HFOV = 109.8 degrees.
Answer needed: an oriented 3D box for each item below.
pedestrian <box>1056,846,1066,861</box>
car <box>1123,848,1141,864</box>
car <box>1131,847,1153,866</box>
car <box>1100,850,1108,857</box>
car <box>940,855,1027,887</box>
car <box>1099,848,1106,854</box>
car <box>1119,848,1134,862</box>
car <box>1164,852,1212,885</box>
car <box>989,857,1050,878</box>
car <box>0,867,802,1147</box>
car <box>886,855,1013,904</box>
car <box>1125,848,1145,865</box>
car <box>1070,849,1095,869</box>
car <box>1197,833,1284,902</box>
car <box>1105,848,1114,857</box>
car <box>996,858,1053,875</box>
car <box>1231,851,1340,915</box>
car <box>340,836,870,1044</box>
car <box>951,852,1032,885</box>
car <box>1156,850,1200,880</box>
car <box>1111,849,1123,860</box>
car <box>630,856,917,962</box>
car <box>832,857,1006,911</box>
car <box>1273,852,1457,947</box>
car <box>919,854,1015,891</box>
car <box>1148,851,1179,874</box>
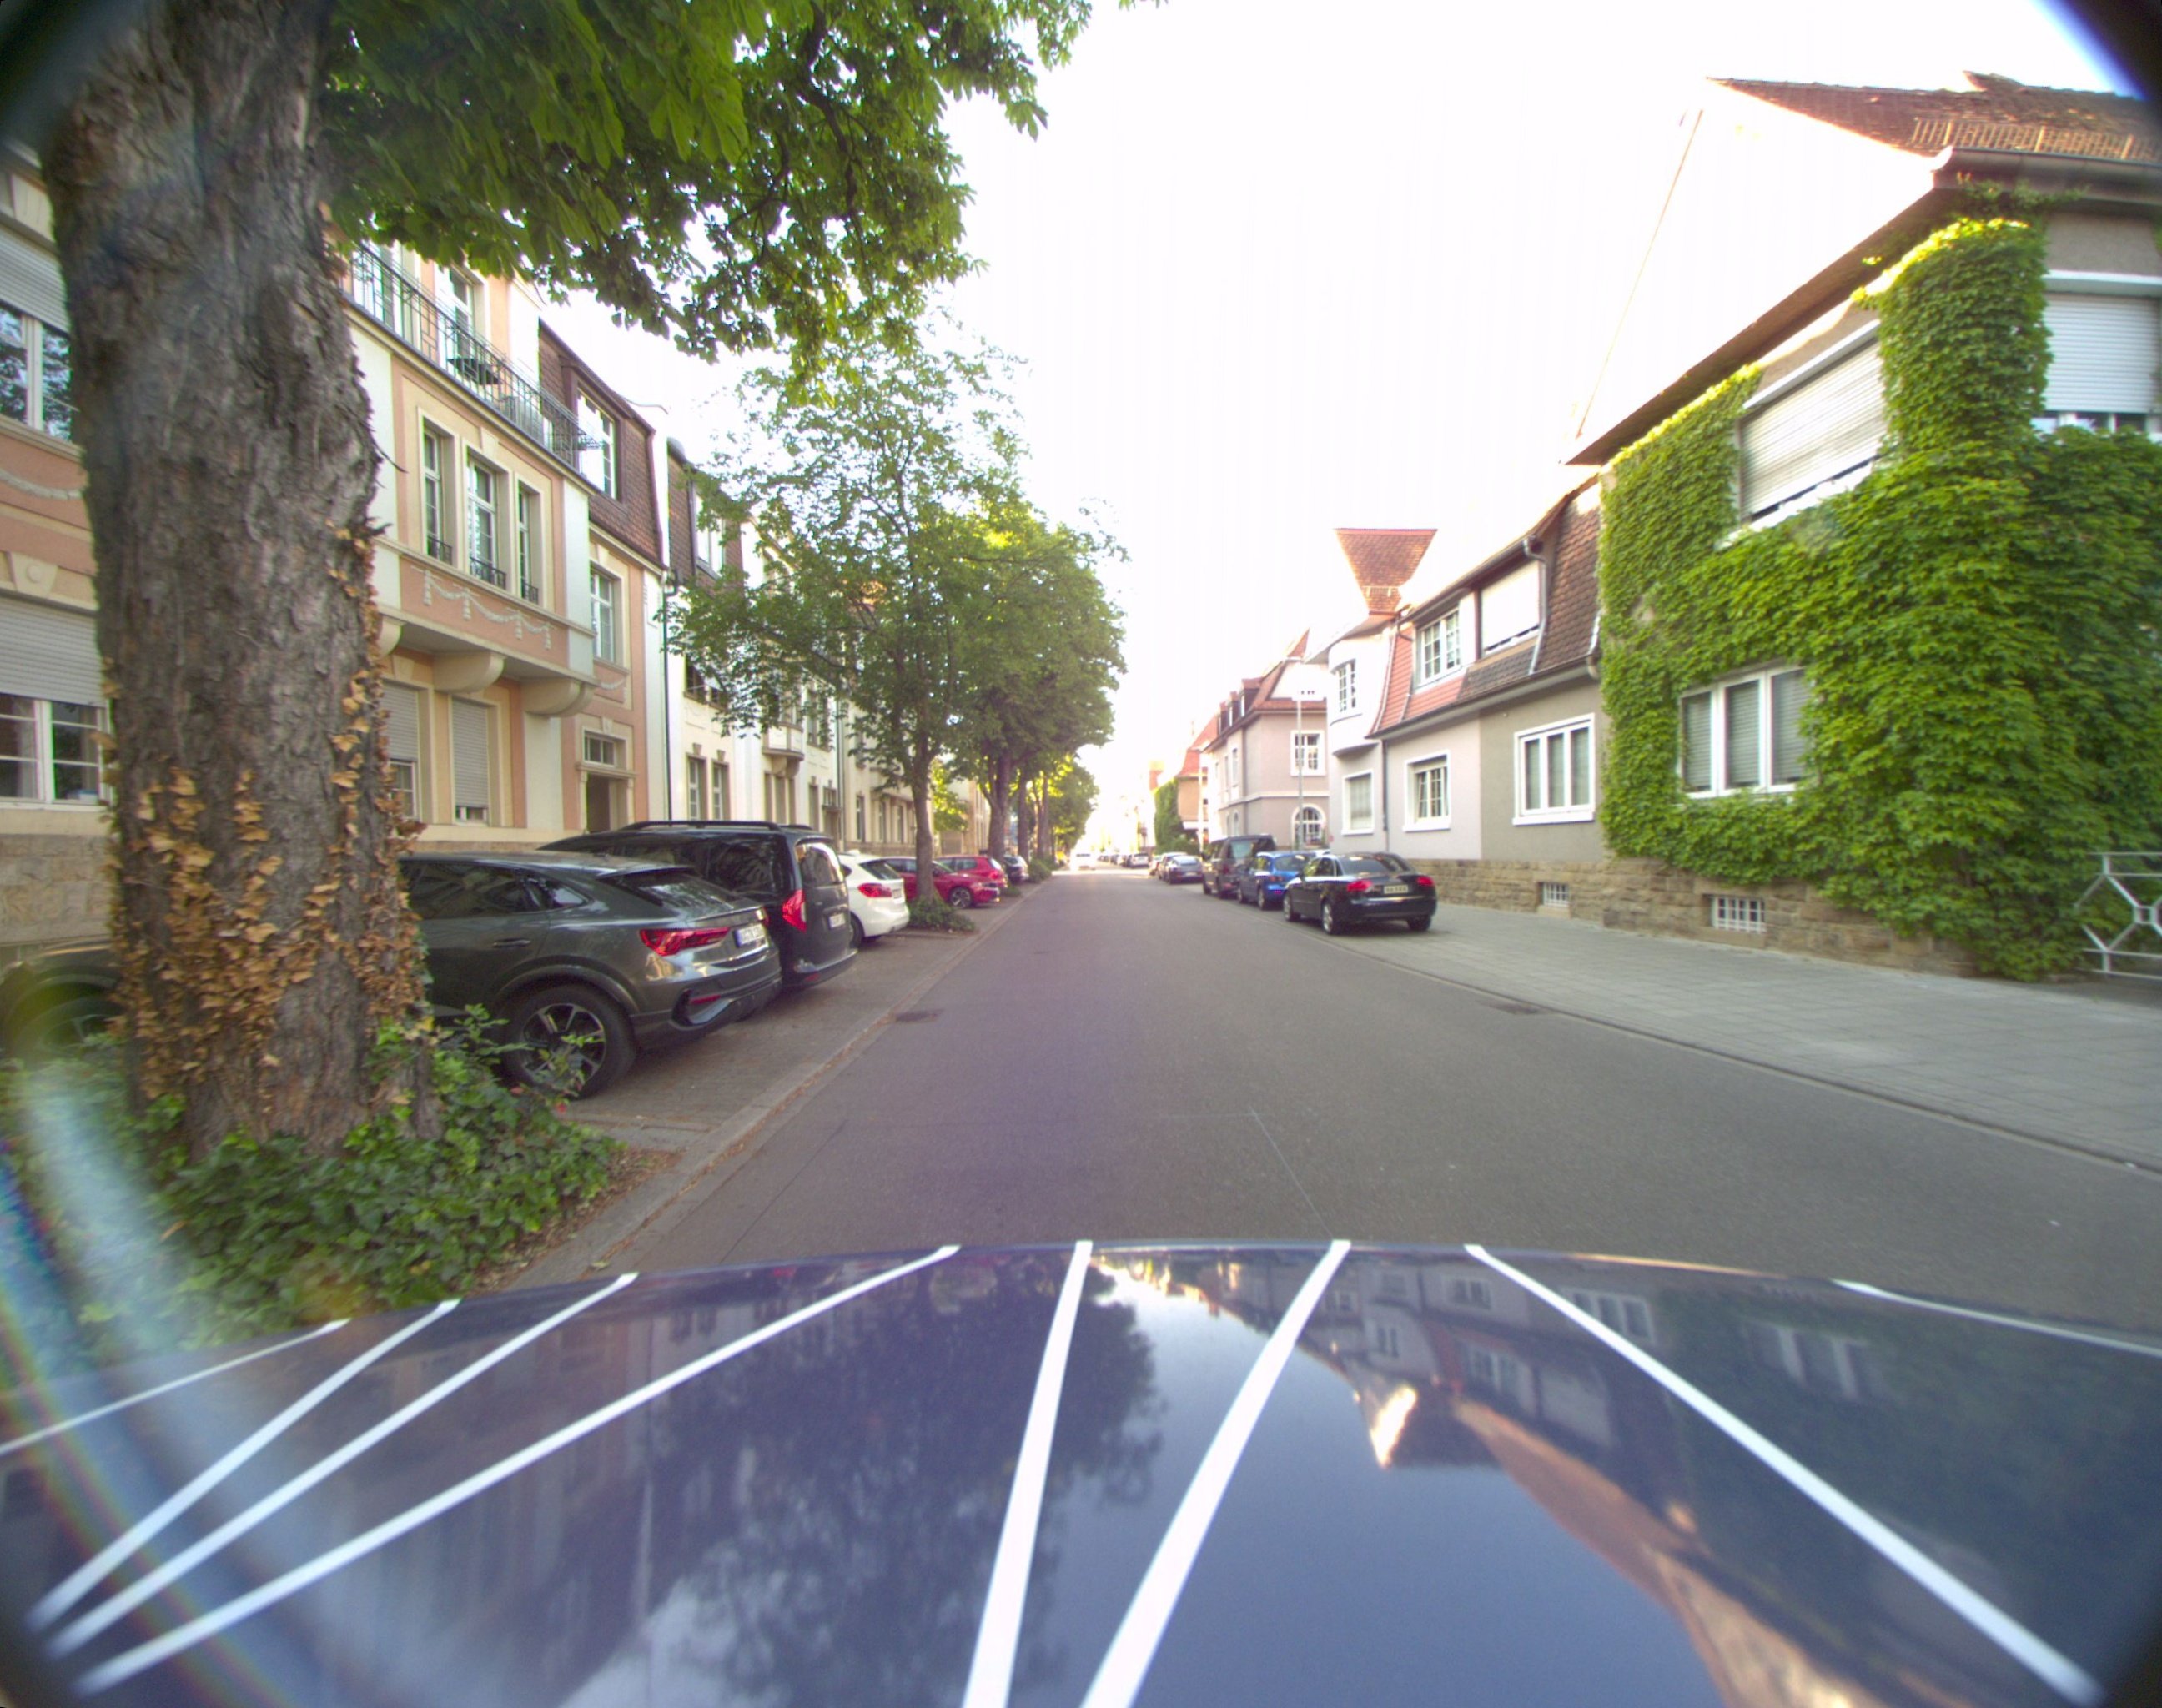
[{"bbox_3d":[-2.580,-0.051,98.037,1.119,1.926,1.097,-3,1,-1],"label":"pedestrian"},{"bbox_3d":[5.424,0.167,80.571,1.699,1.520,3.677,-3,0,2],"label":"car"},{"bbox_3d":[5.412,0.243,67.814,1.699,1.558,3.677,-3,0,2],"label":"car"},{"bbox_3d":[5.253,-0.049,173.099,1.699,1.520,3.677,-3,0,2],"label":"car"},{"bbox_3d":[-4.320,0.757,34.037,3.680,1.390,1.576,0,1,2],"label":"car"},{"bbox_3d":[5.807,-0.696,202.480,1.699,1.520,3.677,-3,0,2],"label":"car"},{"bbox_3d":[5.421,0.080,90.820,1.699,1.520,3.677,-3,0,2],"label":"car"},{"bbox_3d":[5.059,0.649,36.473,1.932,1.376,4.063,-3,0,4],"label":"car"},{"bbox_3d":[-3.569,0.785,44.240,3.399,1.143,1.542,0,1,2],"label":"car"},{"bbox_3d":[-4.531,0.875,5.260,4.522,1.514,1.844,0,1,-4],"label":"car"},{"bbox_3d":[-4.139,0.782,24.270,3.680,1.473,1.659,0,1,3],"label":"car"},{"bbox_3d":[5.324,0.219,75.079,1.699,1.520,3.677,-3,0,2],"label":"car"},{"bbox_3d":[0.134,0.376,59.435,1.819,1.454,4.072,-2,0,1],"label":"car"},{"bbox_3d":[5.146,0.395,25.160,1.842,1.964,4.612,-3,0,0],"label":"car"},{"bbox_3d":[5.546,-0.284,148.928,1.699,1.520,3.677,-3,0,2],"label":"car"},{"bbox_3d":[-3.521,0.783,47.446,3.399,1.057,1.542,0,1,2],"label":"car"},{"bbox_3d":[5.282,0.680,20.149,1.768,1.438,4.062,-3,0,0],"label":"car"},{"bbox_3d":[-4.432,0.748,7.635,4.121,1.827,1.844,0,1,-2],"label":"car"},{"bbox_3d":[-4.284,0.669,36.644,3.680,1.548,1.576,0,1,2],"label":"car"},{"bbox_3d":[5.280,0.566,41.950,1.932,1.458,4.062,-3,0,2],"label":"car"},{"bbox_3d":[5.530,0.013,115.670,1.699,1.520,3.677,-3,0,2],"label":"car"},{"bbox_3d":[-4.827,0.832,12.335,3.950,1.568,1.719,0,1,0],"label":"car"},{"bbox_3d":[-4.533,0.827,21.742,4.530,1.443,1.868,0,1,3],"label":"car"},{"bbox_3d":[5.131,0.726,14.443,1.806,1.438,4.428,-3,0,0],"label":"car"},{"bbox_3d":[-4.679,0.749,31.514,3.680,1.457,1.576,0,1,2],"label":"car"},{"bbox_3d":[5.434,0.543,50.190,1.662,1.354,3.677,-3,0,2],"label":"car"}]
